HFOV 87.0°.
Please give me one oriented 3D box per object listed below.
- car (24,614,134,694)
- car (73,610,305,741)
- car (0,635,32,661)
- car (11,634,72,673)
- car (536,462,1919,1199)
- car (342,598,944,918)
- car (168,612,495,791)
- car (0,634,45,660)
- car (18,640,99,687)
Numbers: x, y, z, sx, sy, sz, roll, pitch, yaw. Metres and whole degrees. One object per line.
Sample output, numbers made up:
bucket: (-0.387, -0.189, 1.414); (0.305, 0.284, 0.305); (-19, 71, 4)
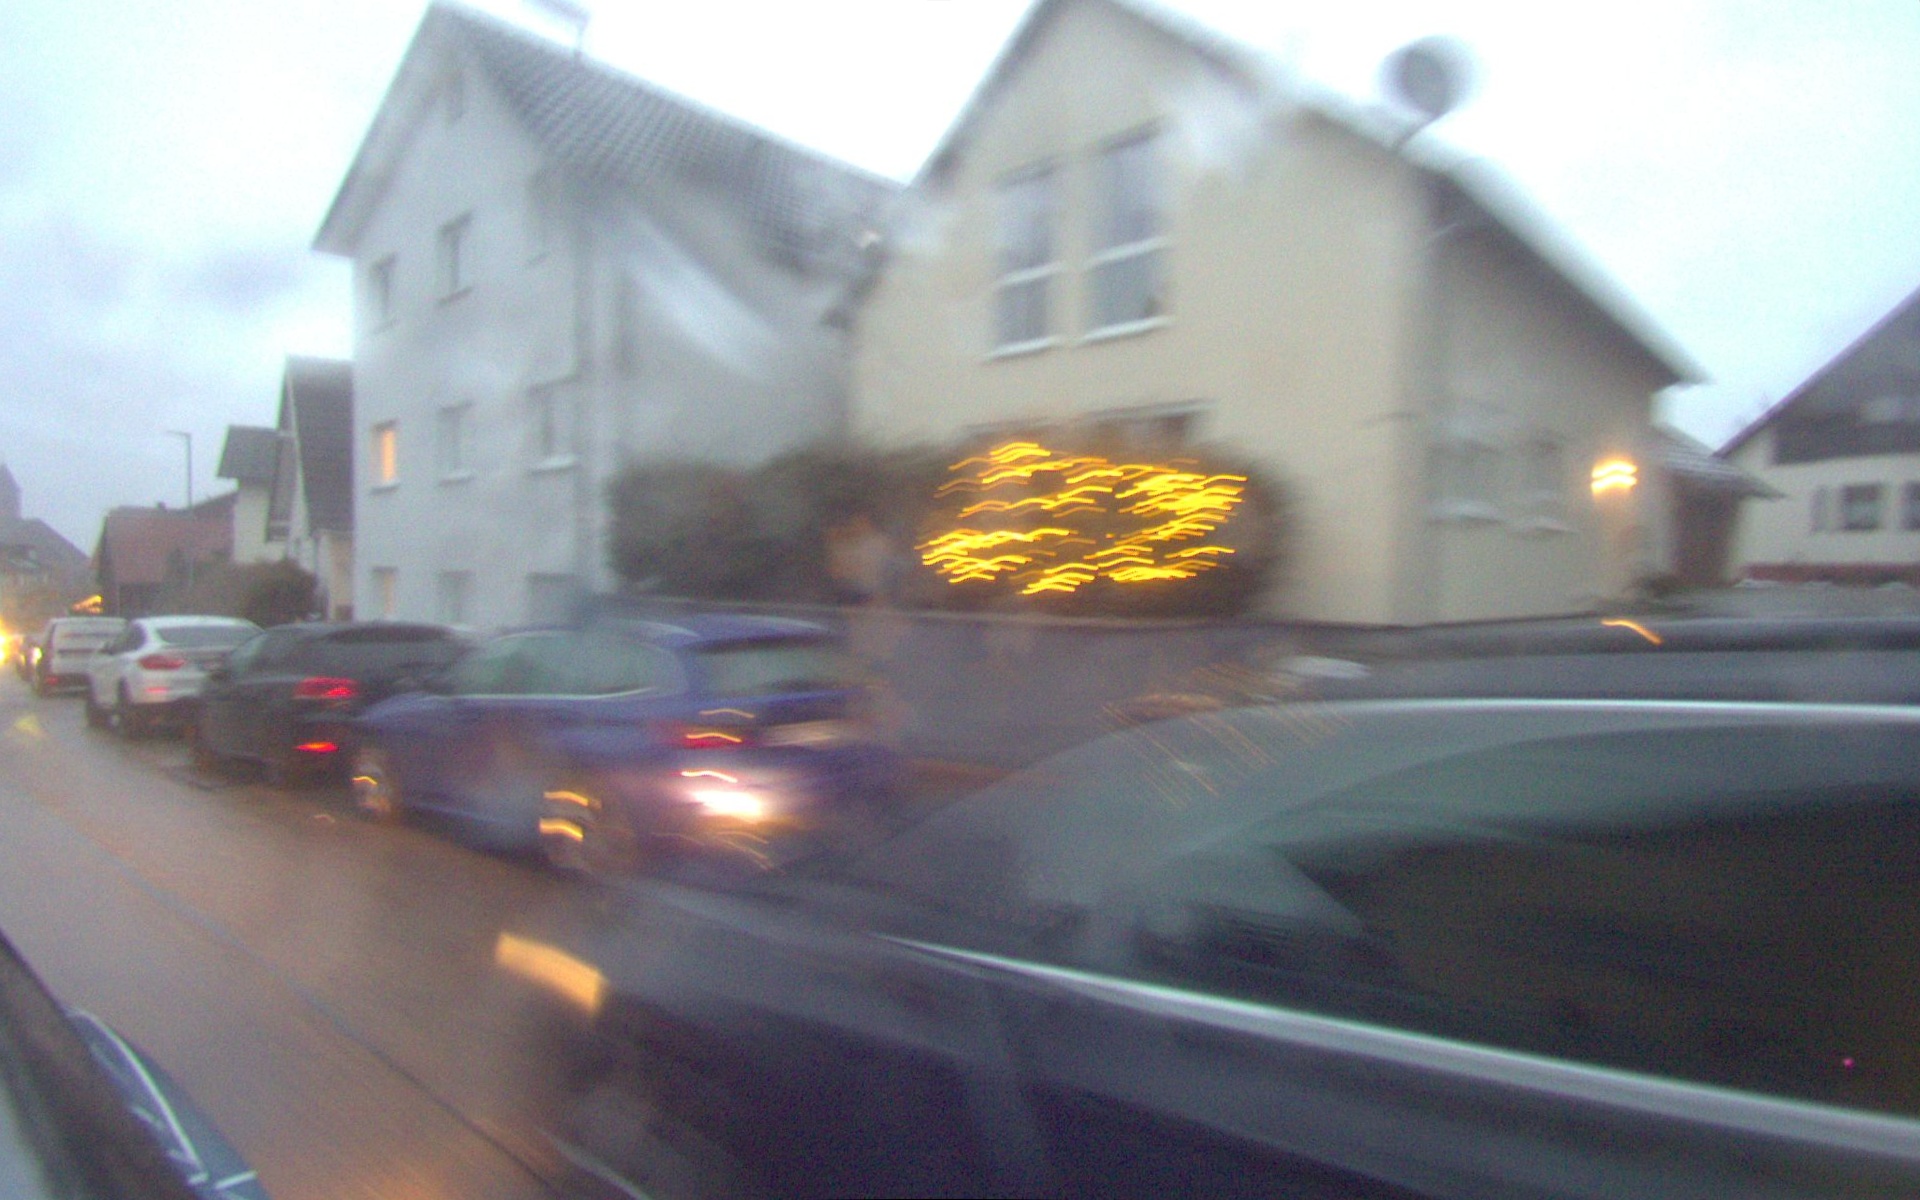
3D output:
car: (-21.777, 1.302, 24.965); (4.130, 1.806, 1.751); (-2, -2, 45)
car: (-11.417, 0.988, 14.872); (4.421, 1.636, 1.898); (-1, -2, 42)
car: (-64.100, 3.231, 68.376); (3.730, 1.638, 1.697); (-1, -2, 42)
car: (-39.441, 2.266, 43.426); (1.742, 1.564, 4.002); (2, -3, -44)
car: (1.292, 0.653, 1.556); (4.375, 1.507, 1.756); (-1, -2, 39)
car: (-2.337, 0.752, 6.713); (4.436, 1.455, 1.716); (-1, -1, 40)
car: (-6.440, 0.867, 10.200); (4.033, 1.447, 1.716); (-1, -2, 41)
car: (-55.220, 2.752, 59.514); (3.730, 1.422, 1.697); (-1, -2, 42)
car: (-30.985, 2.135, 34.749); (4.002, 1.477, 1.804); (-2, -3, 45)
